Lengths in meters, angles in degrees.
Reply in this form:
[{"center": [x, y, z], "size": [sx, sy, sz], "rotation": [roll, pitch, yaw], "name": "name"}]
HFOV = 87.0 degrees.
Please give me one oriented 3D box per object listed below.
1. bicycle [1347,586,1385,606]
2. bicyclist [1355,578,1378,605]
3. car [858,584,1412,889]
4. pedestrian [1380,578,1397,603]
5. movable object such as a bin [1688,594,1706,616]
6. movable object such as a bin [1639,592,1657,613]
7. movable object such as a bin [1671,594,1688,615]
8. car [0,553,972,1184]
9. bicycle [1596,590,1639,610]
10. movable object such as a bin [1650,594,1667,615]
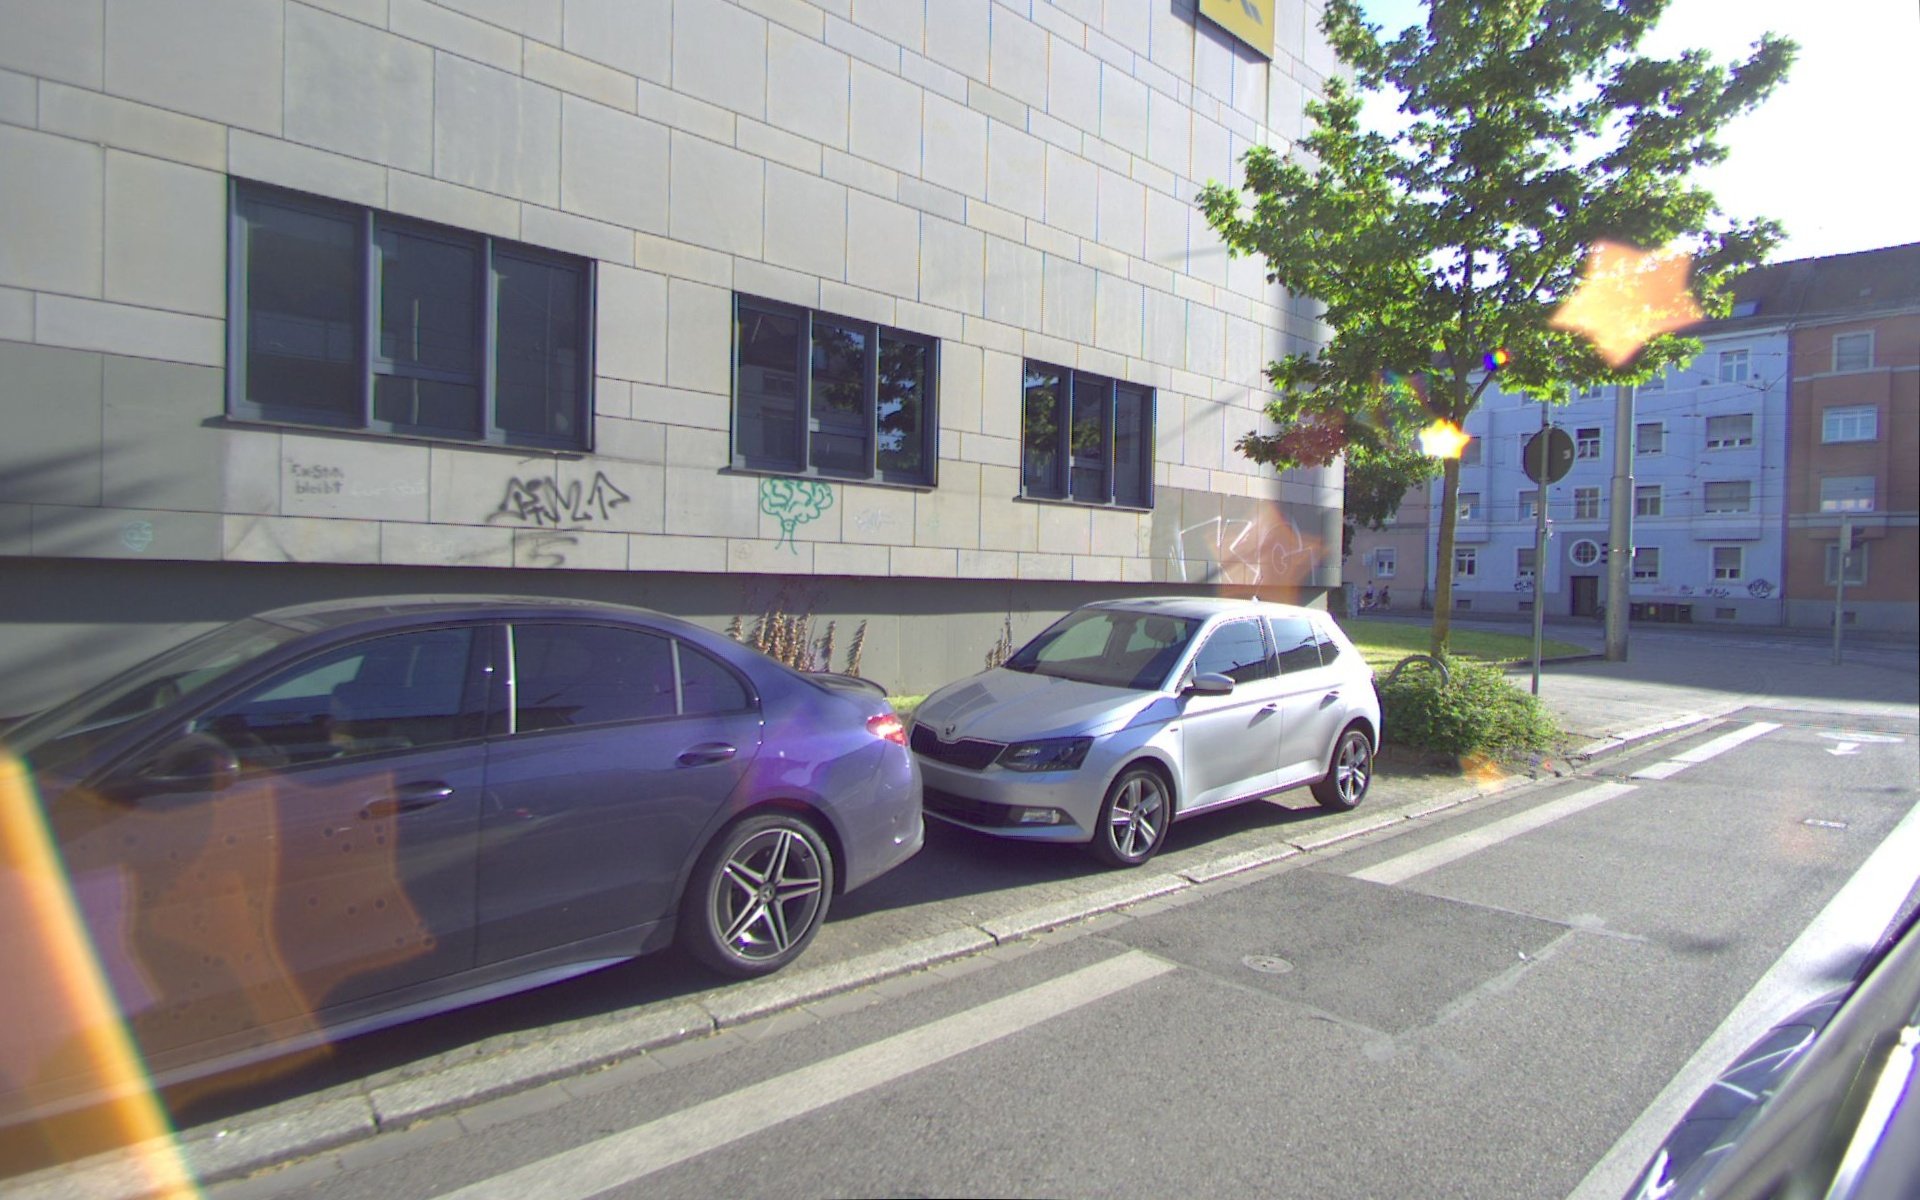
[{"center": [25.857, -0.260, 64.449], "size": [0.736, 1.205, 2.149], "rotation": [0, 2, -41], "name": "bicycle"}, {"center": [25.889, -0.556, 64.430], "size": [0.736, 1.663, 1.124], "rotation": [0, 2, -41], "name": "bicyclist"}, {"center": [1.365, 0.666, 6.908], "size": [3.846, 1.473, 1.645], "rotation": [0, 2, -41], "name": "car"}, {"center": [27.526, -0.627, 64.982], "size": [0.665, 1.583, 0.719], "rotation": [0, 1, -40], "name": "pedestrian"}, {"center": [38.699, 0.266, 53.132], "size": [0.692, 1.120, 0.582], "rotation": [0, 2, -42], "name": "movable object such as a bin"}, {"center": [37.183, 0.134, 54.681], "size": [0.692, 1.120, 0.647], "rotation": [0, 2, -42], "name": "movable object such as a bin"}, {"center": [38.187, 0.230, 53.734], "size": [0.692, 1.120, 0.582], "rotation": [0, 2, -42], "name": "movable object such as a bin"}, {"center": [-2.247, 0.612, 3.713], "size": [4.563, 1.508, 1.842], "rotation": [0, 2, -43], "name": "car"}, {"center": [36.320, -0.017, 55.929], "size": [0.597, 0.992, 1.874], "rotation": [-1, 3, -41], "name": "bicycle"}, {"center": [37.560, 0.230, 54.395], "size": [0.692, 1.120, 0.582], "rotation": [0, 2, -42], "name": "movable object such as a bin"}]
